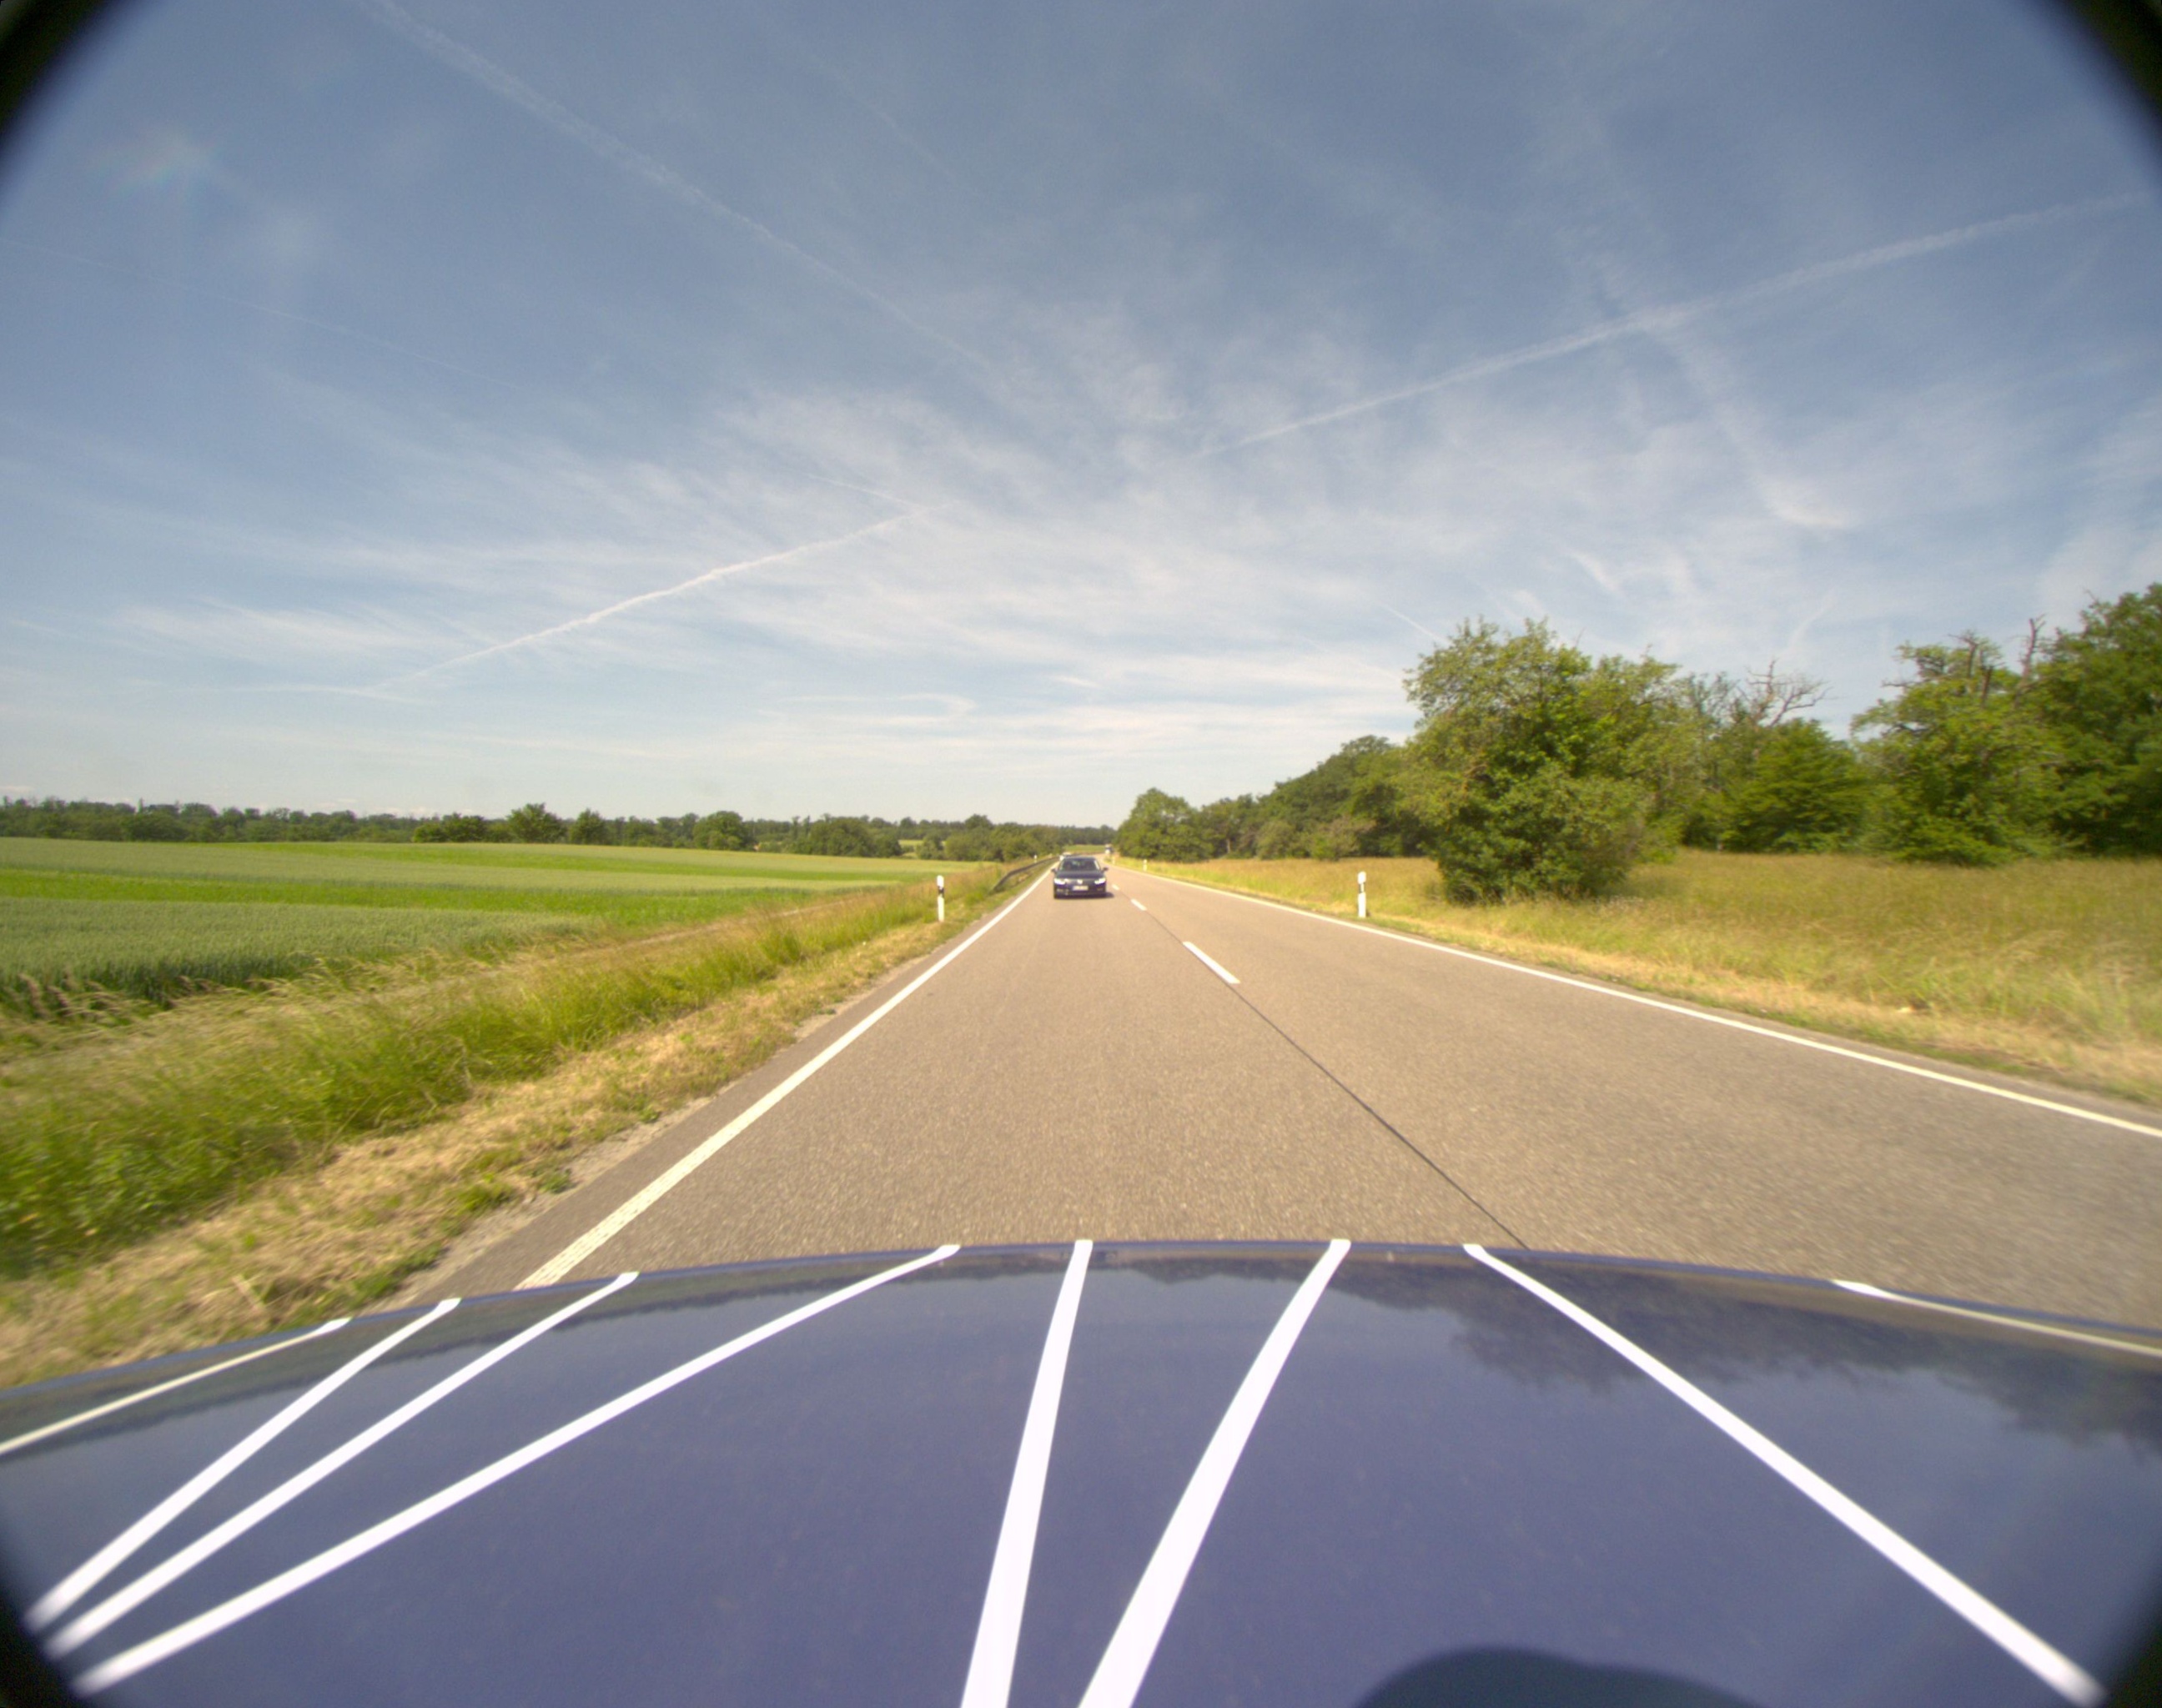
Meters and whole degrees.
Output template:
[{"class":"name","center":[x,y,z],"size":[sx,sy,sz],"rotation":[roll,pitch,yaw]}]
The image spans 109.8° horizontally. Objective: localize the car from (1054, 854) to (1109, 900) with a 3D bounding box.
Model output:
[{"class":"car","center":[-0.042,0.784,27.796],"size":[1.822,1.501,4.500],"rotation":[-1,0,-2]}]

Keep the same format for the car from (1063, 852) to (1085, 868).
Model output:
[{"class":"car","center":[-0.685,0.539,71.401],"size":[1.928,1.501,4.290],"rotation":[0,0,-3]}]

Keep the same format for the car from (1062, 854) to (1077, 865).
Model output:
[{"class":"car","center":[-1.581,0.763,103.459],"size":[1.928,1.501,4.291],"rotation":[1,0,-2]}]
